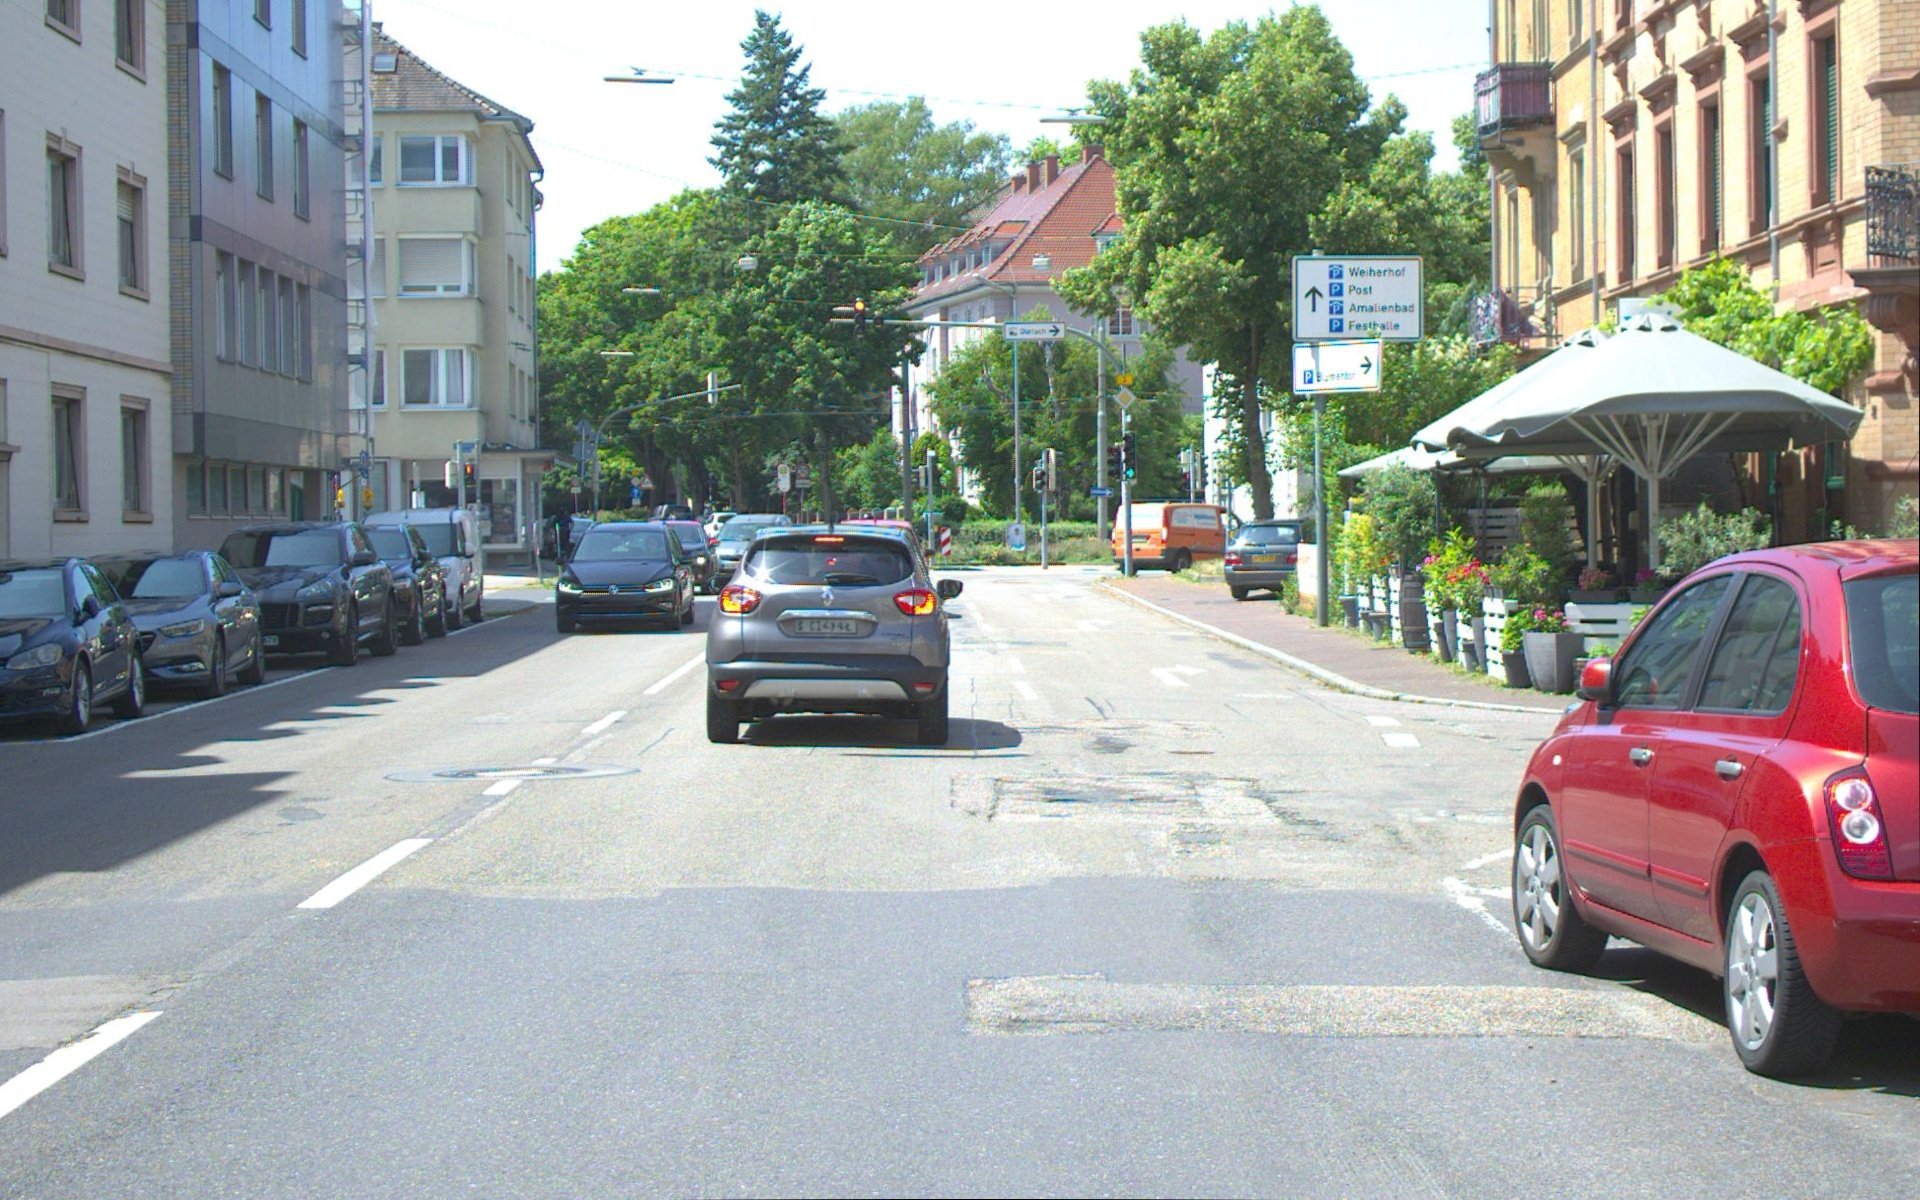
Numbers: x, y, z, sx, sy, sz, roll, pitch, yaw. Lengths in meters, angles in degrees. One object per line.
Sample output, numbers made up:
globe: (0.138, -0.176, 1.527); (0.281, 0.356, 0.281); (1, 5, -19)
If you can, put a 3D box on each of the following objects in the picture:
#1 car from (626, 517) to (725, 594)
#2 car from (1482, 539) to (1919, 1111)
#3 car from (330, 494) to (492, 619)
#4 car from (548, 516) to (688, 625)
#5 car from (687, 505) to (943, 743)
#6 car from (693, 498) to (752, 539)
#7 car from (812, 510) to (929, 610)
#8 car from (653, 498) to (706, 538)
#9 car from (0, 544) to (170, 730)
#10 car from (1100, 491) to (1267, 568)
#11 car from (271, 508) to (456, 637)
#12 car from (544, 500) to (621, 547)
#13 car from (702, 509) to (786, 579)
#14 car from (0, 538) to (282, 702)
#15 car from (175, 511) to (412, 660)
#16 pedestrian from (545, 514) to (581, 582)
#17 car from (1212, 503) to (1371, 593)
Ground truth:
car: (-5.771, -0.932, 70.170); (1.701, 1.473, 4.134); (-1, 2, -1)
car: (2.972, 0.583, 10.968); (1.757, 1.473, 3.784); (2, 1, -4)
car: (-8.495, -0.697, 53.556); (1.913, 1.819, 4.789); (-2, 1, -2)
car: (-4.990, -0.468, 50.591); (1.760, 1.489, 4.246); (-1, 2, -2)
car: (-1.021, 0.111, 25.960); (1.754, 1.626, 4.000); (1, 2, 0)
car: (-10.837, -3.742, 156.672); (1.993, 1.801, 4.002); (0, 2, -14)
car: (-1.434, -0.678, 56.435); (1.799, 1.552, 4.038); (1, 1, 0)
car: (-13.849, -4.067, 169.813); (1.993, 1.900, 4.002); (0, 2, -14)
car: (-7.951, 0.292, 28.824); (1.864, 1.401, 4.332); (-4, 1, -4)
car: (5.862, -1.850, 89.775); (1.998, 1.970, 4.491); (0, 2, 42)
car: (-8.137, -0.409, 47.270); (1.884, 1.635, 4.664); (-2, 1, -2)
car: (-12.781, -2.575, 116.270); (1.993, 1.514, 4.001); (1, 1, -15)
car: (-4.984, -1.319, 79.851); (1.701, 1.569, 4.312); (-1, 2, -1)
car: (-8.074, 0.141, 34.315); (1.864, 1.401, 4.838); (-4, 1, -4)
car: (-7.891, -0.217, 41.120); (1.885, 1.635, 4.818); (-1, 1, 0)
pedestrian: (-11.345, -1.499, 98.253); (0.935, 1.925, 0.977); (0, 1, -13)
car: (6.380, -1.025, 65.705); (1.836, 1.543, 5.152); (0, 3, 19)
